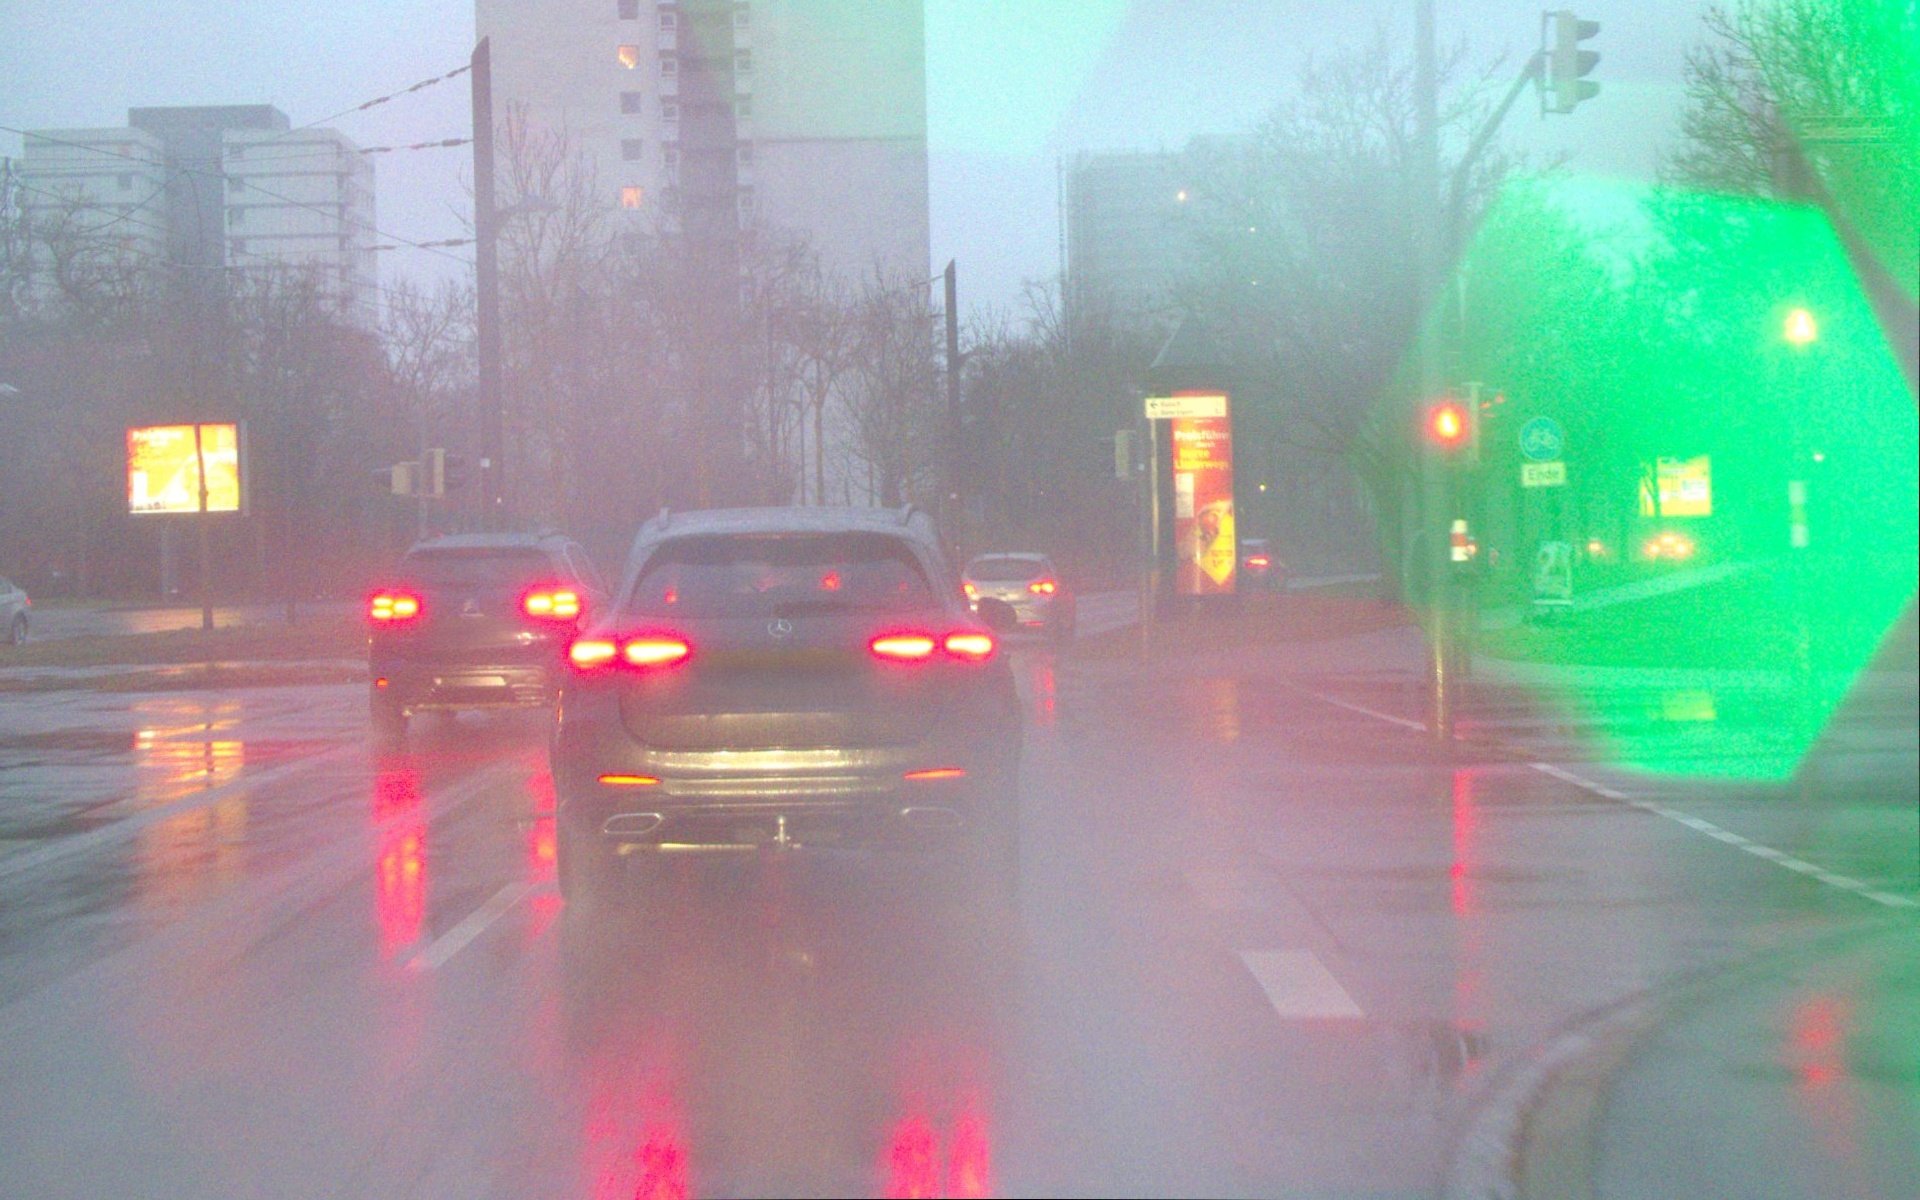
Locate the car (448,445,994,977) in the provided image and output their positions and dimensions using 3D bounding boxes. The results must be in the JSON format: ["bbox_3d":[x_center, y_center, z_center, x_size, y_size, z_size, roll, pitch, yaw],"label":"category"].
[{"bbox_3d":[-0.868,0.416,14.792,1.993,1.969,4.068,0,0,1],"label":"car"}]

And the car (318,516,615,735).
[{"bbox_3d":[-4.080,0.205,29.098,1.993,1.706,4.325,0,0,-1],"label":"car"}]

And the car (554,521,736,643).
[{"bbox_3d":[-4.380,-0.243,48.384,1.994,1.636,4.022,0,0,3],"label":"car"}]

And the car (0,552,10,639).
[{"bbox_3d":[-17.501,-0.079,58.227,1.587,1.524,4.934,0,0,-1],"label":"car"}]

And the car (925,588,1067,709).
[{"bbox_3d":[0.618,0.762,55.943,1.857,1.885,3.999,0,0,7],"label":"car"}]
